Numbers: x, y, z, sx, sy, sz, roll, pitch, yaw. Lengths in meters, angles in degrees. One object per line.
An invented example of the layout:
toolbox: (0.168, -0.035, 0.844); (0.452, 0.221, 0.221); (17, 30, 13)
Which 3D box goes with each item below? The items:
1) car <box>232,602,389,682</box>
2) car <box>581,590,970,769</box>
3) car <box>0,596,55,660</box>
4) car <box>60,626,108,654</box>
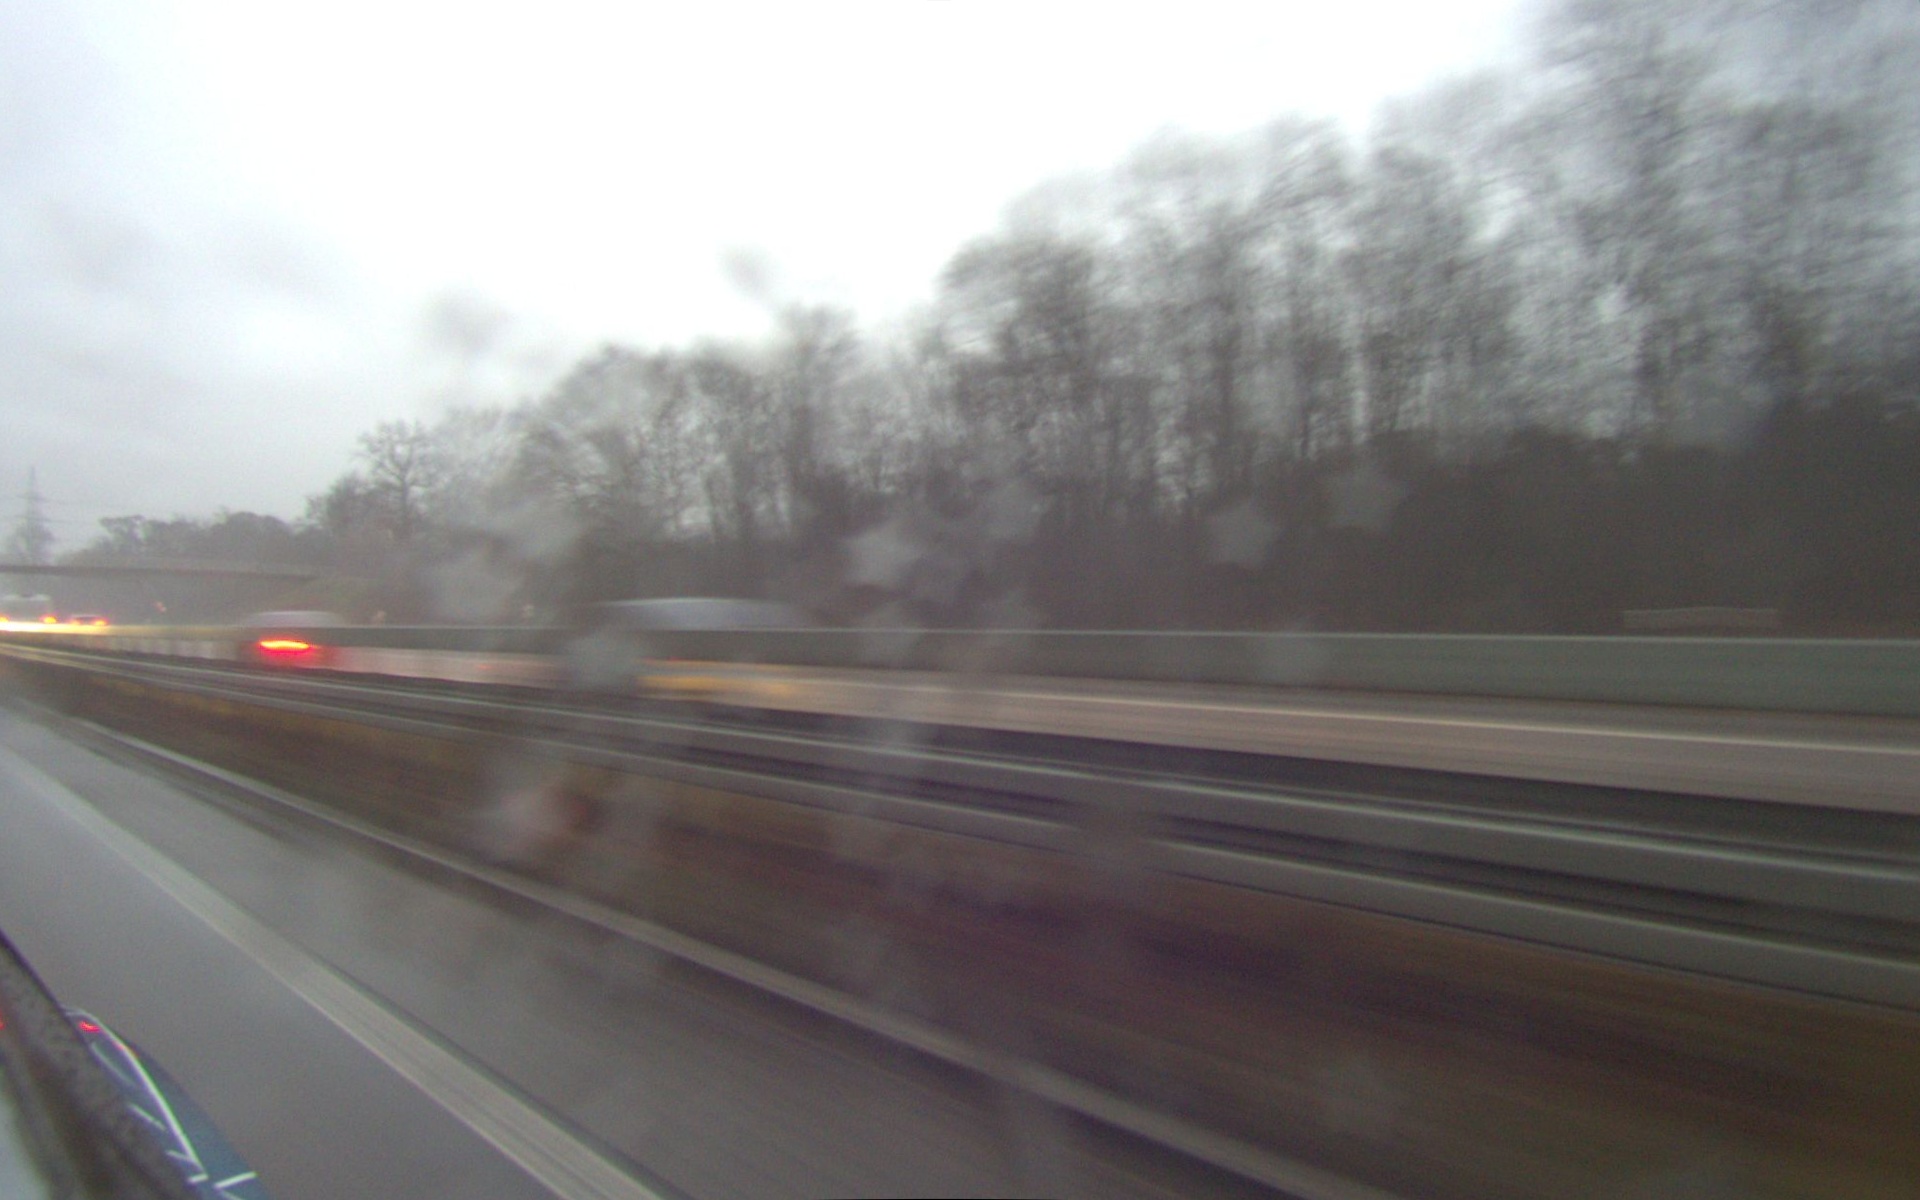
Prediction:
car: (-14.467, 0.881, 22.451); (4.150, 1.606, 1.811); (-1, -1, 40)
car: (-2.113, 0.703, 10.882); (4.236, 1.501, 1.798); (-1, 2, 40)
car: (-48.526, 1.418, 52.016); (5.604, 3.113, 2.280); (-1, -1, 40)
car: (-56.173, 2.519, 64.876); (4.603, 1.659, 1.672); (-1, -1, 41)
